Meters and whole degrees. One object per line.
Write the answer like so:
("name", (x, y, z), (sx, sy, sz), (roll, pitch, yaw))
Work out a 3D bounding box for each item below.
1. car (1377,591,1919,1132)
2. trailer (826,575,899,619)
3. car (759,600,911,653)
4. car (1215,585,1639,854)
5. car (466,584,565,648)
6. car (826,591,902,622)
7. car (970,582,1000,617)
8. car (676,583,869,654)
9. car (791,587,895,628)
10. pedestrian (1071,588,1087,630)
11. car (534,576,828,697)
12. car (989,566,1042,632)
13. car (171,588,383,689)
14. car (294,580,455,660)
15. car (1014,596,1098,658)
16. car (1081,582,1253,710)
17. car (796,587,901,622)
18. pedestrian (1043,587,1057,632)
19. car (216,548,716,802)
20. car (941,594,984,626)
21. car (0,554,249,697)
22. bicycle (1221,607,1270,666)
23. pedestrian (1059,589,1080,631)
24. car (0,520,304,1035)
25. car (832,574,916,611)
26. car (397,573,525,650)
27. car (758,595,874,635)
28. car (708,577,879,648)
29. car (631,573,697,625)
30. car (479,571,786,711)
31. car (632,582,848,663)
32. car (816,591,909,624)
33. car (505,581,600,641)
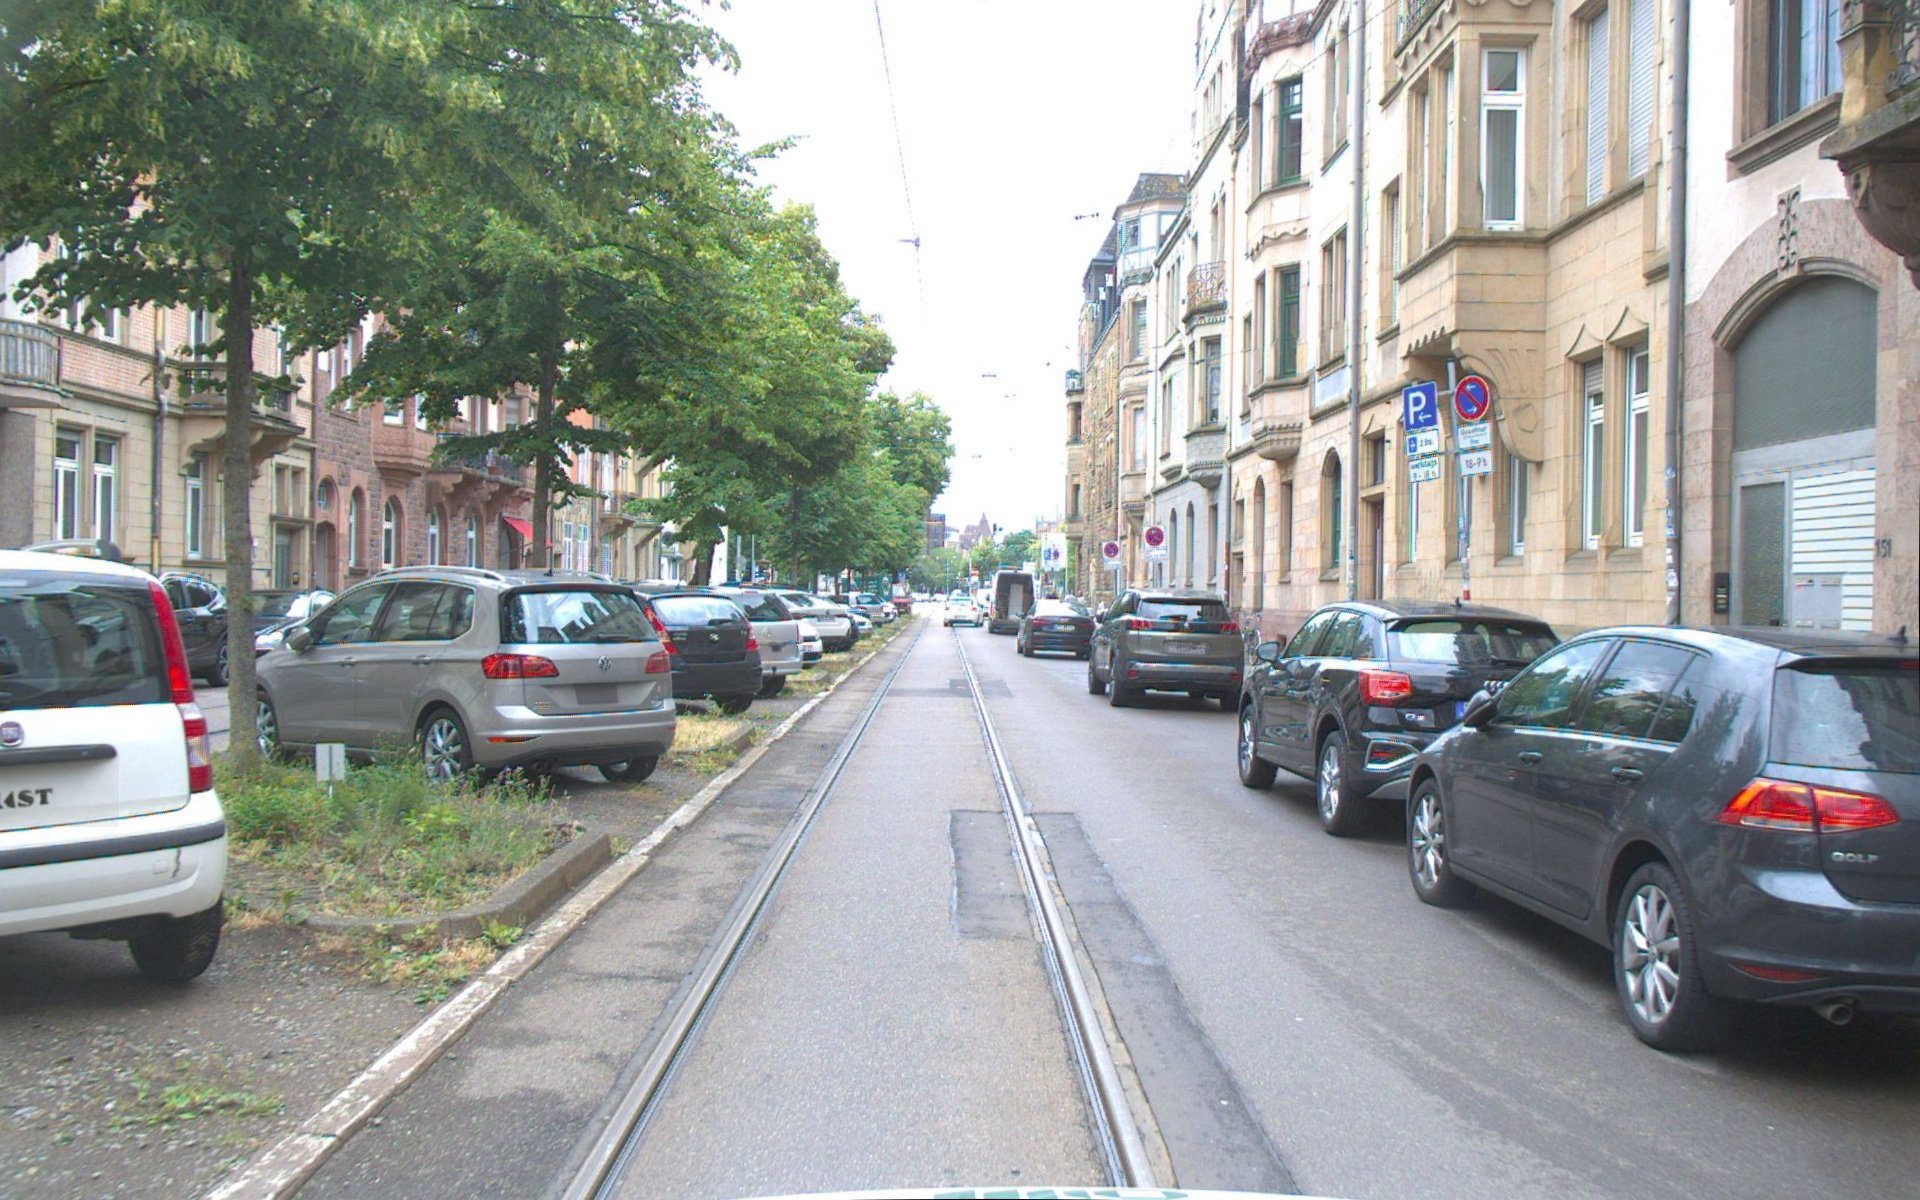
("car", (3.247, 0.790, 6.998), (1.664, 1.539, 4.390), (4, 0, -2))
("trailer", (-5.413, -0.190, 91.432), (3.594, 2.385, 1.926), (1, 0, 32))
("car", (-3.683, 0.747, 48.192), (4.586, 1.392, 1.747), (1, 0, 42))
("car", (3.198, 0.717, 12.301), (1.664, 1.539, 4.418), (4, 0, -2))
("car", (-11.660, 0.399, 43.603), (1.628, 1.587, 3.721), (1, 0, -1))
("car", (-4.858, 0.316, 83.661), (3.794, 1.488, 1.680), (1, 0, 42))
("car", (1.514, -0.060, 98.948), (1.746, 1.997, 4.383), (1, 0, 1))
("car", (-4.347, 0.394, 37.936), (4.464, 1.516, 2.022), (1, 0, 44))
("car", (-4.654, 0.286, 65.546), (4.042, 1.510, 1.787), (1, 0, 40))
("pedestrian", (5.004, 0.373, 69.409), (0.498, 1.747, 0.580), (-1, 0, -11))
("car", (-4.022, 0.465, 23.373), (1.850, 1.519, 4.490), (2, 0, -44))
("car", (2.306, -0.055, 70.450), (1.972, 2.593, 7.016), (2, 0, 0))
("car", (-11.262, 0.602, 27.620), (1.768, 1.516, 4.386), (1, 0, -1))
("car", (-11.576, 0.385, 33.005), (1.768, 1.463, 4.229), (1, 0, -1))
("car", (2.442, 0.657, 43.237), (1.764, 1.463, 5.195), (1, 0, -1))
("car", (2.899, 0.587, 24.152), (1.724, 1.650, 4.692), (1, 0, -2))
("car", (-4.947, 0.207, 73.281), (4.600, 1.460, 1.890), (1, 0, 39))
("pedestrian", (3.774, 0.391, 69.285), (0.488, 1.847, 0.803), (-1, 0, 1))
("car", (-3.884, 0.503, 12.670), (4.130, 1.637, 1.715), (0, -1, 41))
("car", (0.160, 0.456, 80.478), (1.745, 1.498, 4.012), (1, 0, 4))
("car", (-11.290, 0.314, 22.110), (1.768, 1.709, 4.272), (1, 0, -1))
("bicycle", (6.006, 0.756, 34.850), (0.599, 1.146, 1.916), (4, 0, -1))
("pedestrian", (4.546, 0.414, 68.553), (0.695, 1.729, 0.488), (-1, 0, -29))
("car", (-4.096, 0.538, 6.180), (3.365, 1.554, 1.681), (0, -1, 41))
("car", (-4.941, -0.442, 94.302), (4.676, 2.009, 1.951), (1, 0, 38))
("car", (-11.577, 0.261, 38.647), (1.733, 1.657, 4.319), (1, 0, -1))
("car", (-4.818, 0.479, 55.025), (3.894, 1.223, 1.657), (1, 0, 43))
("car", (-4.180, 0.289, 41.105), (4.455, 1.662, 1.753), (1, 0, 44))
("car", (-11.892, -0.012, 66.703), (1.843, 1.986, 5.092), (1, 0, -1))
("car", (-4.052, 0.433, 20.085), (3.933, 1.511, 1.763), (1, 0, 45))
("car", (-4.123, 0.384, 30.637), (4.060, 1.335, 1.850), (2, 0, 44))
("car", (-4.555, 0.338, 76.875), (4.263, 1.460, 1.888), (1, 0, 42))
("car", (-11.869, 0.322, 48.425), (1.705, 1.655, 4.552), (1, 0, -1))
